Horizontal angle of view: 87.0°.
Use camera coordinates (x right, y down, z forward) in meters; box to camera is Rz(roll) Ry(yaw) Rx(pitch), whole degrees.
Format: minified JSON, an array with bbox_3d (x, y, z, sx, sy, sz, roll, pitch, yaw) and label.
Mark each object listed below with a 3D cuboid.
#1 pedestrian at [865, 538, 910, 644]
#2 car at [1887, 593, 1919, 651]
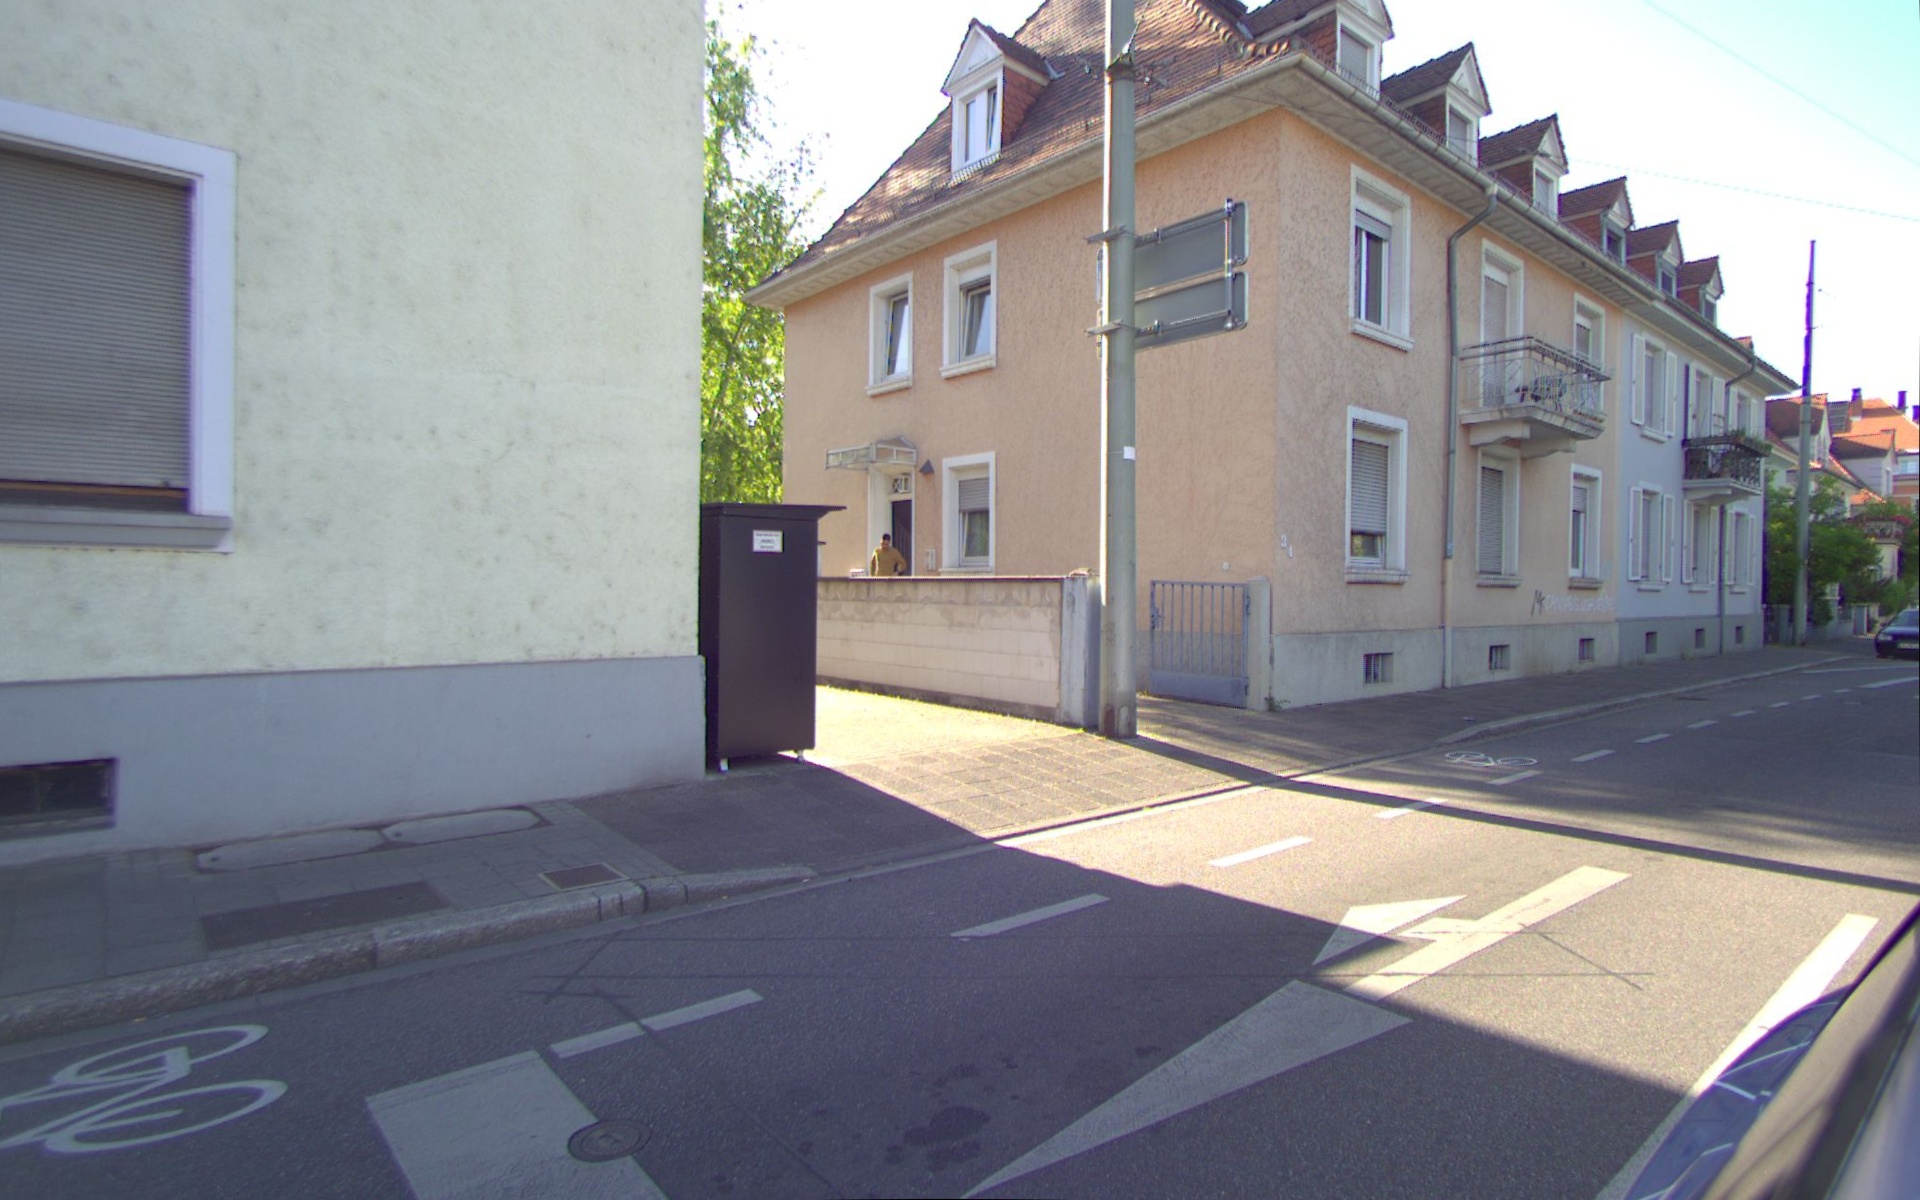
[{"bbox_3d":[-1.240,-0.150,17.351,0.592,1.783,0.486,0,0,-39],"label":"pedestrian"},{"bbox_3d":[26.851,0.587,27.386,3.925,1.504,1.883,0,1,-37],"label":"car"}]
